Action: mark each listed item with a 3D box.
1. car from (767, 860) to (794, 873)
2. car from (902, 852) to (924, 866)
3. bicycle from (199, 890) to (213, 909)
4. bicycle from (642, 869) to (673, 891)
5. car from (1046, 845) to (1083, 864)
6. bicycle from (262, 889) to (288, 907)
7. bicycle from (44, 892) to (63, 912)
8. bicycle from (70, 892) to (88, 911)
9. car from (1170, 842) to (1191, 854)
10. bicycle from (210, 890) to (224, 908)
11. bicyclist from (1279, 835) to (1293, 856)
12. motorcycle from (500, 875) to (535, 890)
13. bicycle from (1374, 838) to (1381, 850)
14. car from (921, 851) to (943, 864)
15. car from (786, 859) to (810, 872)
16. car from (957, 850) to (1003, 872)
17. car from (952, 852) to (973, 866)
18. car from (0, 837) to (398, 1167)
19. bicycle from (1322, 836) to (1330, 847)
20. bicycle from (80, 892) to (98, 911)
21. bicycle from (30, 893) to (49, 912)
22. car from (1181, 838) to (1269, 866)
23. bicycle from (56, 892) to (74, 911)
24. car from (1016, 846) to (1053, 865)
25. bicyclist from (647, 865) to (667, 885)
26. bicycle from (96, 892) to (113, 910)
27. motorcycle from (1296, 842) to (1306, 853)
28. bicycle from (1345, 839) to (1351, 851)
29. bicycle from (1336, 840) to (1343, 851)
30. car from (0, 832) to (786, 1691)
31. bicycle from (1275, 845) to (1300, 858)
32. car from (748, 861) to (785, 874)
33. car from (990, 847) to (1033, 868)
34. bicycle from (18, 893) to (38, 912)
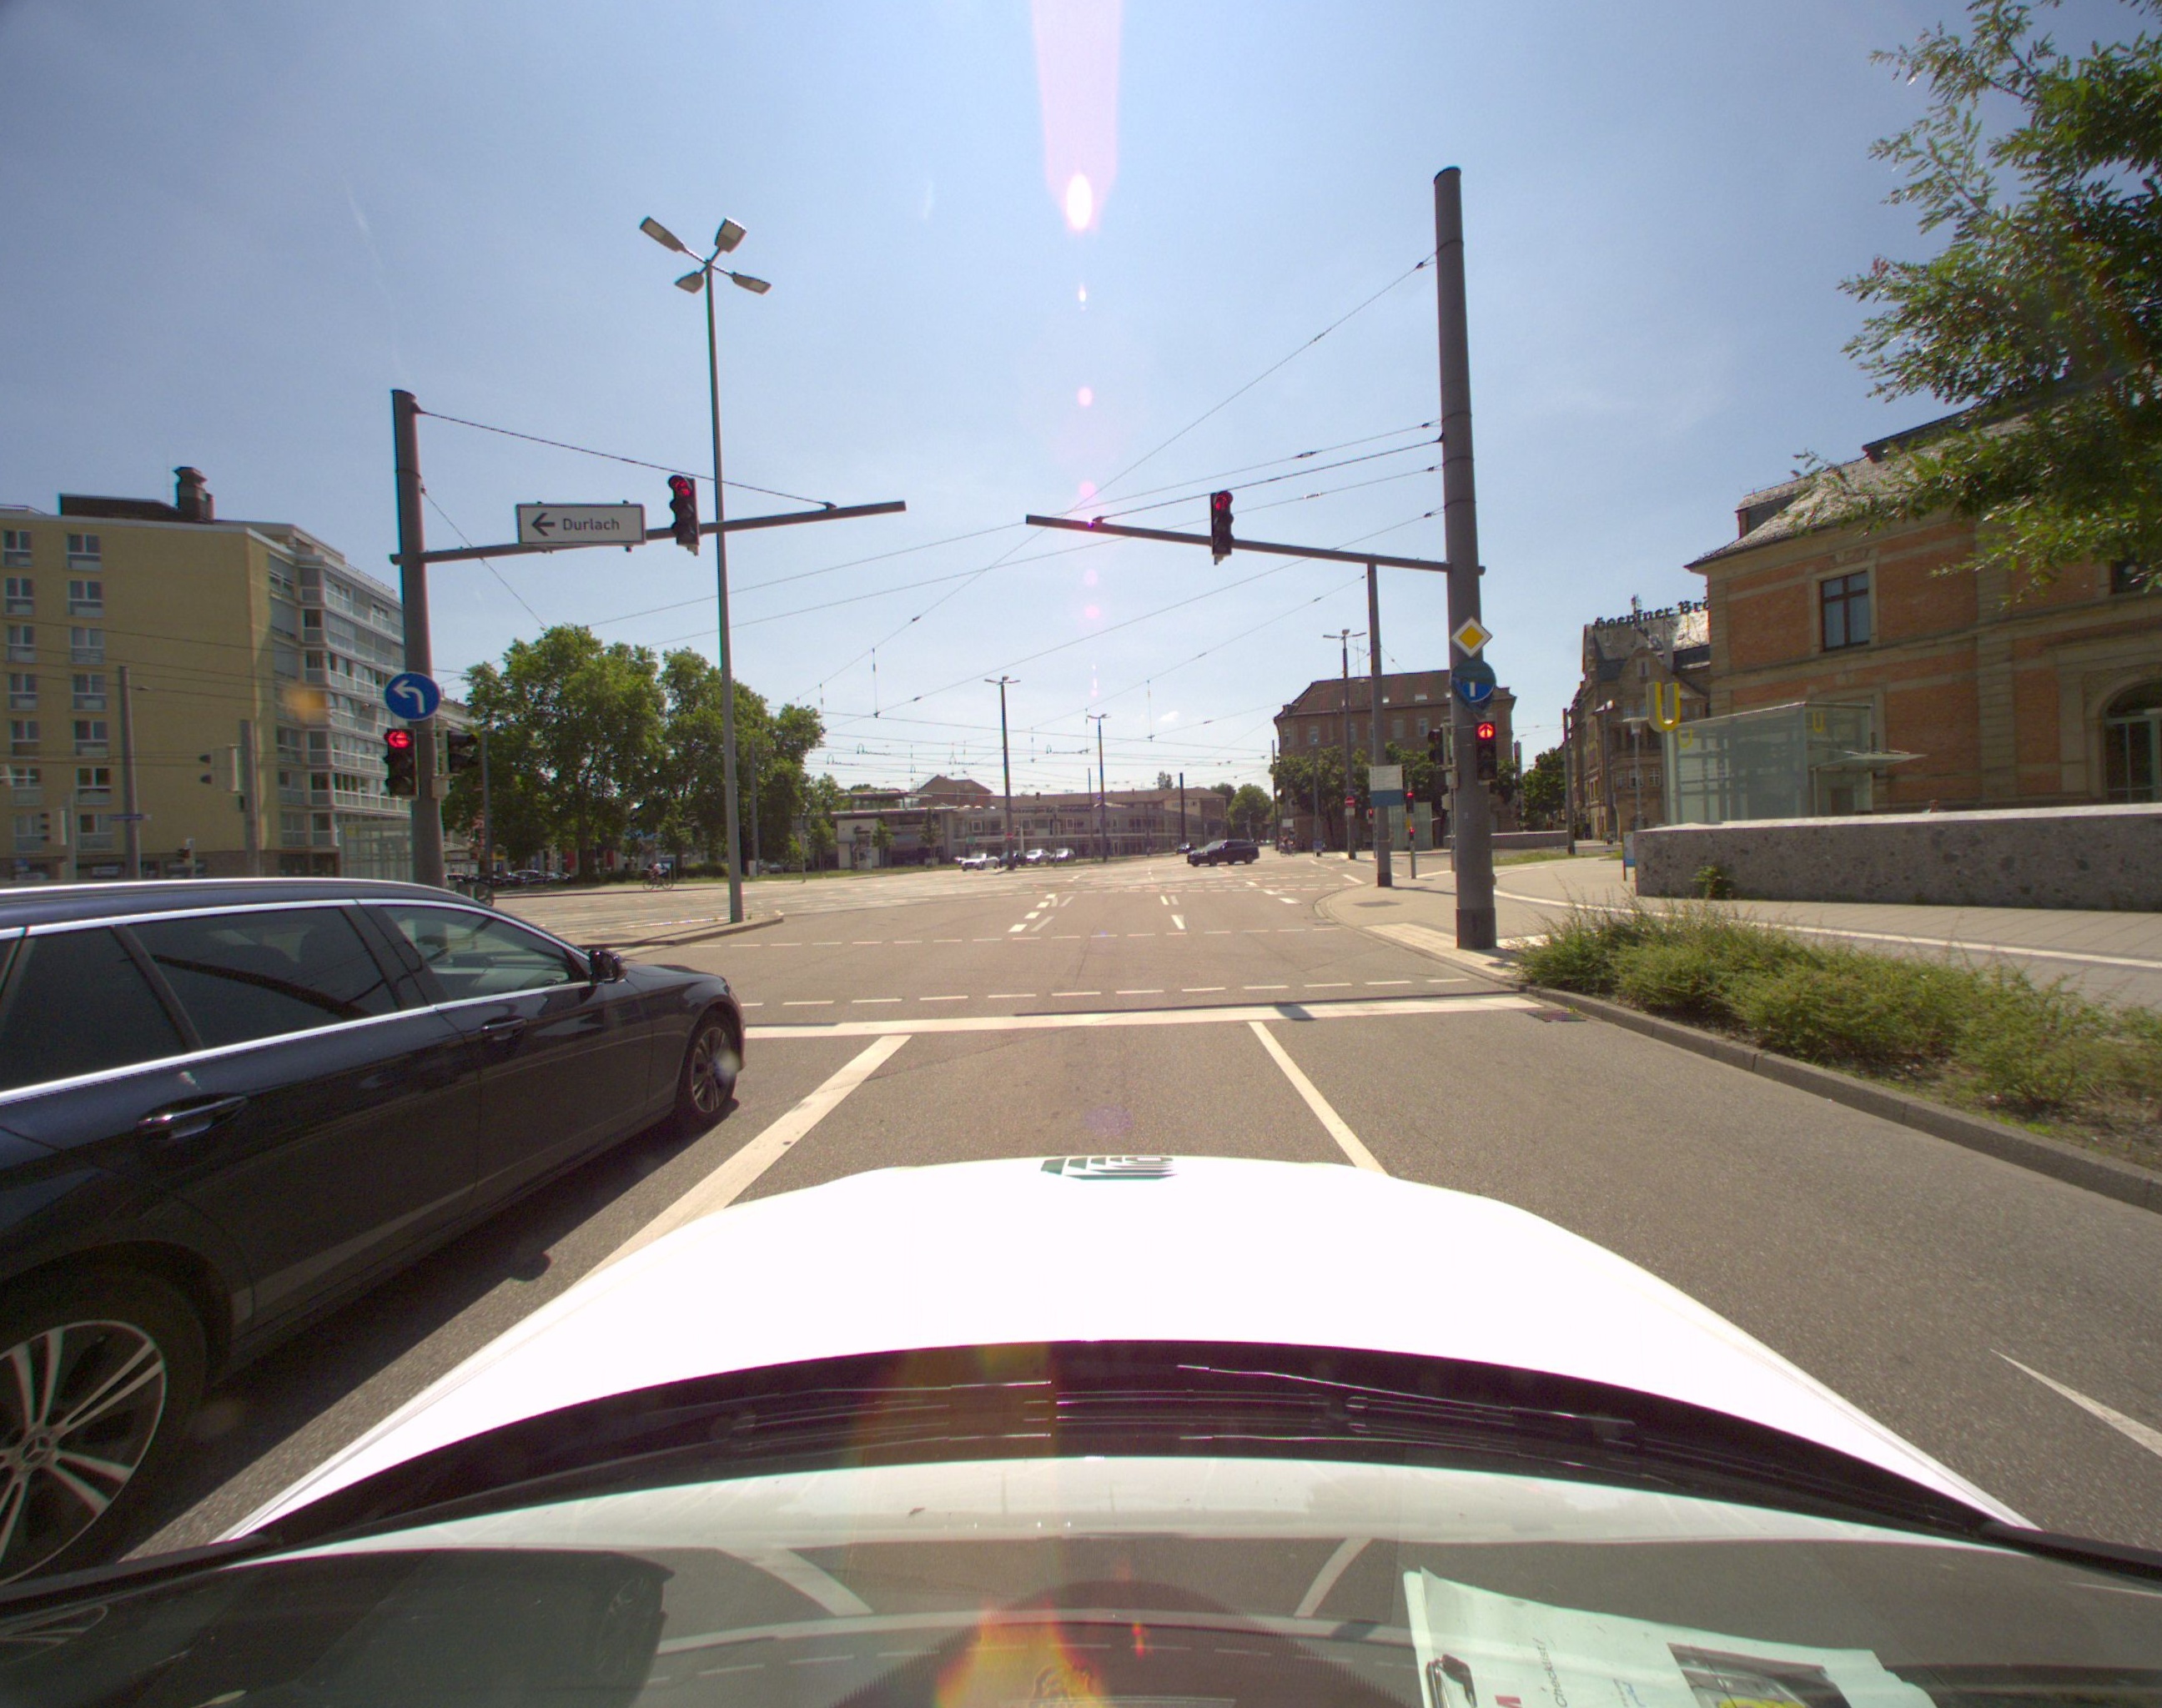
[{"bbox_3d":[-38.713,1.608,105.013,1.760,1.510,4.329,-2,0,2],"label":"car"},{"bbox_3d":[-21.275,0.657,103.302,1.913,1.707,4.001,0,-1,2],"label":"car"},{"bbox_3d":[-51.783,2.691,48.215,0.435,1.026,1.426,-2,0,-43],"label":"bicycle"},{"bbox_3d":[-25.655,1.577,49.403,1.508,1.216,0.713,-2,0,-16],"label":"bicycle"},{"bbox_3d":[-1.568,0.013,78.173,1.977,1.637,4.869,-2,0,18],"label":"car"},{"bbox_3d":[-49.862,2.694,50.403,0.432,1.026,1.437,-2,0,-15],"label":"bicycle"},{"bbox_3d":[-58.394,2.723,46.287,0.435,1.026,1.426,-2,0,-43],"label":"bicycle"},{"bbox_3d":[-57.455,2.720,46.694,0.435,1.026,1.426,-2,0,-43],"label":"bicycle"},{"bbox_3d":[14.690,-0.873,120.139,2.062,1.682,4.869,-2,0,18],"label":"car"},{"bbox_3d":[-51.363,2.689,48.409,0.435,1.026,1.426,-2,0,-43],"label":"bicycle"},{"bbox_3d":[17.337,-0.718,68.718,1.065,1.808,0.475,0,-1,-24],"label":"bicyclist"},{"bbox_3d":[-39.973,2.019,57.794,1.926,0.961,0.521,-2,0,-29],"label":"motorcycle"},{"bbox_3d":[29.487,-1.000,80.947,0.547,1.120,1.938,-2,0,17],"label":"bicycle"},{"bbox_3d":[-18.870,0.442,103.276,1.913,1.707,4.001,0,-1,2],"label":"car"},{"bbox_3d":[-36.330,1.514,104.513,1.763,1.510,4.321,-2,0,-3],"label":"car"},{"bbox_3d":[-8.278,0.537,67.298,2.061,1.580,4.865,-2,0,15],"label":"car"},{"bbox_3d":[-15.052,0.613,103.519,1.913,1.707,4.001,0,-1,2],"label":"car"},{"bbox_3d":[-6.054,0.739,4.224,1.737,1.576,3.739,-2,0,2],"label":"car"},{"bbox_3d":[24.753,-1.253,82.260,0.440,1.146,2.098,-1,-1,8],"label":"bicycle"},{"bbox_3d":[-56.950,2.717,46.775,0.435,1.026,1.426,-2,0,-43],"label":"bicycle"},{"bbox_3d":[-58.991,2.727,46.128,0.435,1.026,1.426,-2,0,-43],"label":"bicycle"},{"bbox_3d":[8.629,-0.114,48.788,4.849,1.465,1.986,-2,0,-21],"label":"car"},{"bbox_3d":[-57.941,2.721,46.452,0.435,1.026,1.426,-2,0,-43],"label":"bicycle"},{"bbox_3d":[-4.485,0.119,79.345,1.977,1.739,4.565,-2,0,18],"label":"car"},{"bbox_3d":[-25.700,1.274,49.392,0.927,1.142,0.713,-2,0,-16],"label":"bicyclist"},{"bbox_3d":[-56.457,2.716,47.102,0.435,1.026,1.426,-2,0,-43],"label":"bicycle"},{"bbox_3d":[22.099,-0.698,81.895,0.577,1.074,1.949,-2,0,5],"label":"motorcycle"},{"bbox_3d":[26.593,-0.893,81.135,0.547,1.120,1.828,-2,0,17],"label":"bicycle"},{"bbox_3d":[25.791,-0.864,81.294,0.547,1.120,1.827,-2,0,14],"label":"bicycle"},{"bbox_3d":[-2.925,0.781,2.962,1.791,1.640,4.807,-1,0,2],"label":"car"},{"bbox_3d":[17.421,-0.208,68.767,2.115,1.052,0.687,0,-1,-24],"label":"bicycle"},{"bbox_3d":[-42.664,1.806,110.350,4.344,1.510,1.754,-3,0,-34],"label":"car"},{"bbox_3d":[-6.208,0.297,73.418,1.977,1.700,4.869,-2,0,18],"label":"car"},{"bbox_3d":[-59.461,2.729,45.995,0.435,1.026,1.426,-2,0,-43],"label":"bicycle"}]
